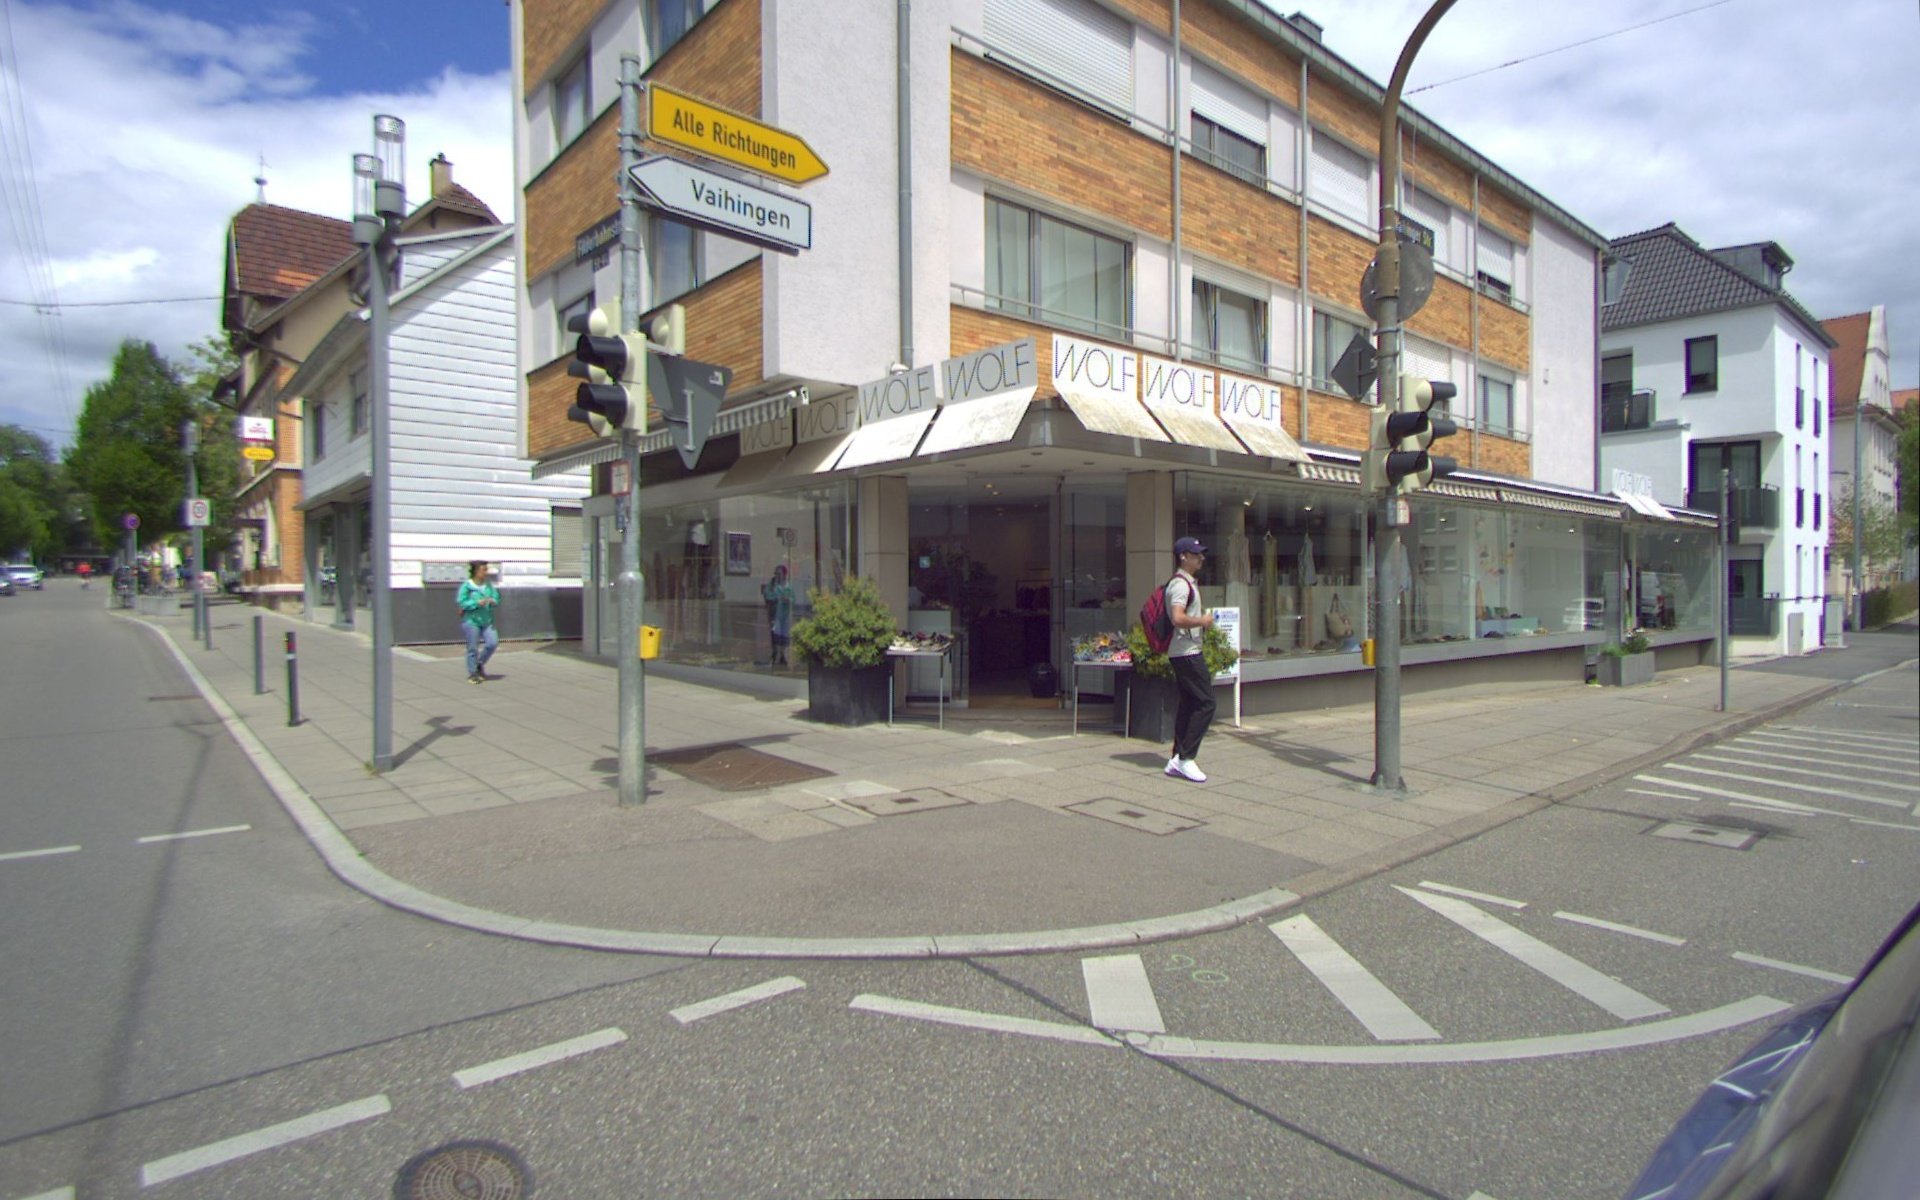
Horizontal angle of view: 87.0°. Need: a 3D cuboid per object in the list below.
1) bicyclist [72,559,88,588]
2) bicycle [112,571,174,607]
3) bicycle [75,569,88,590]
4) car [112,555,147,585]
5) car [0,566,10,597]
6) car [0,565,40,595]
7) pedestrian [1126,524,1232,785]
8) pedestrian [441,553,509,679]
[{"bbox_3d":[-54.590,-1.661,62.816,0.681,1.783,0.944,-2,1,-40],"label":"bicyclist"},{"bbox_3d":[-29.426,-0.393,36.456,1.689,1.235,0.560,-2,1,-42],"label":"bicycle"},{"bbox_3d":[-54.617,-1.280,62.909,0.552,1.235,1.715,-2,1,-40],"label":"bicycle"},{"bbox_3d":[-53.955,-1.952,65.749,1.650,1.819,3.811,-2,1,-40],"label":"car"},{"bbox_3d":[-46.008,-0.838,47.706,1.678,1.415,3.989,-2,1,-44],"label":"car"},{"bbox_3d":[-56.101,-1.154,60.291,1.796,1.671,3.989,-2,1,-44],"label":"car"},{"bbox_3d":[1.670,0.375,7.657,0.605,1.836,0.772,4,2,17],"label":"pedestrian"},{"bbox_3d":[-6.236,0.197,13.023,0.584,1.579,0.523,-1,1,33],"label":"pedestrian"}]
